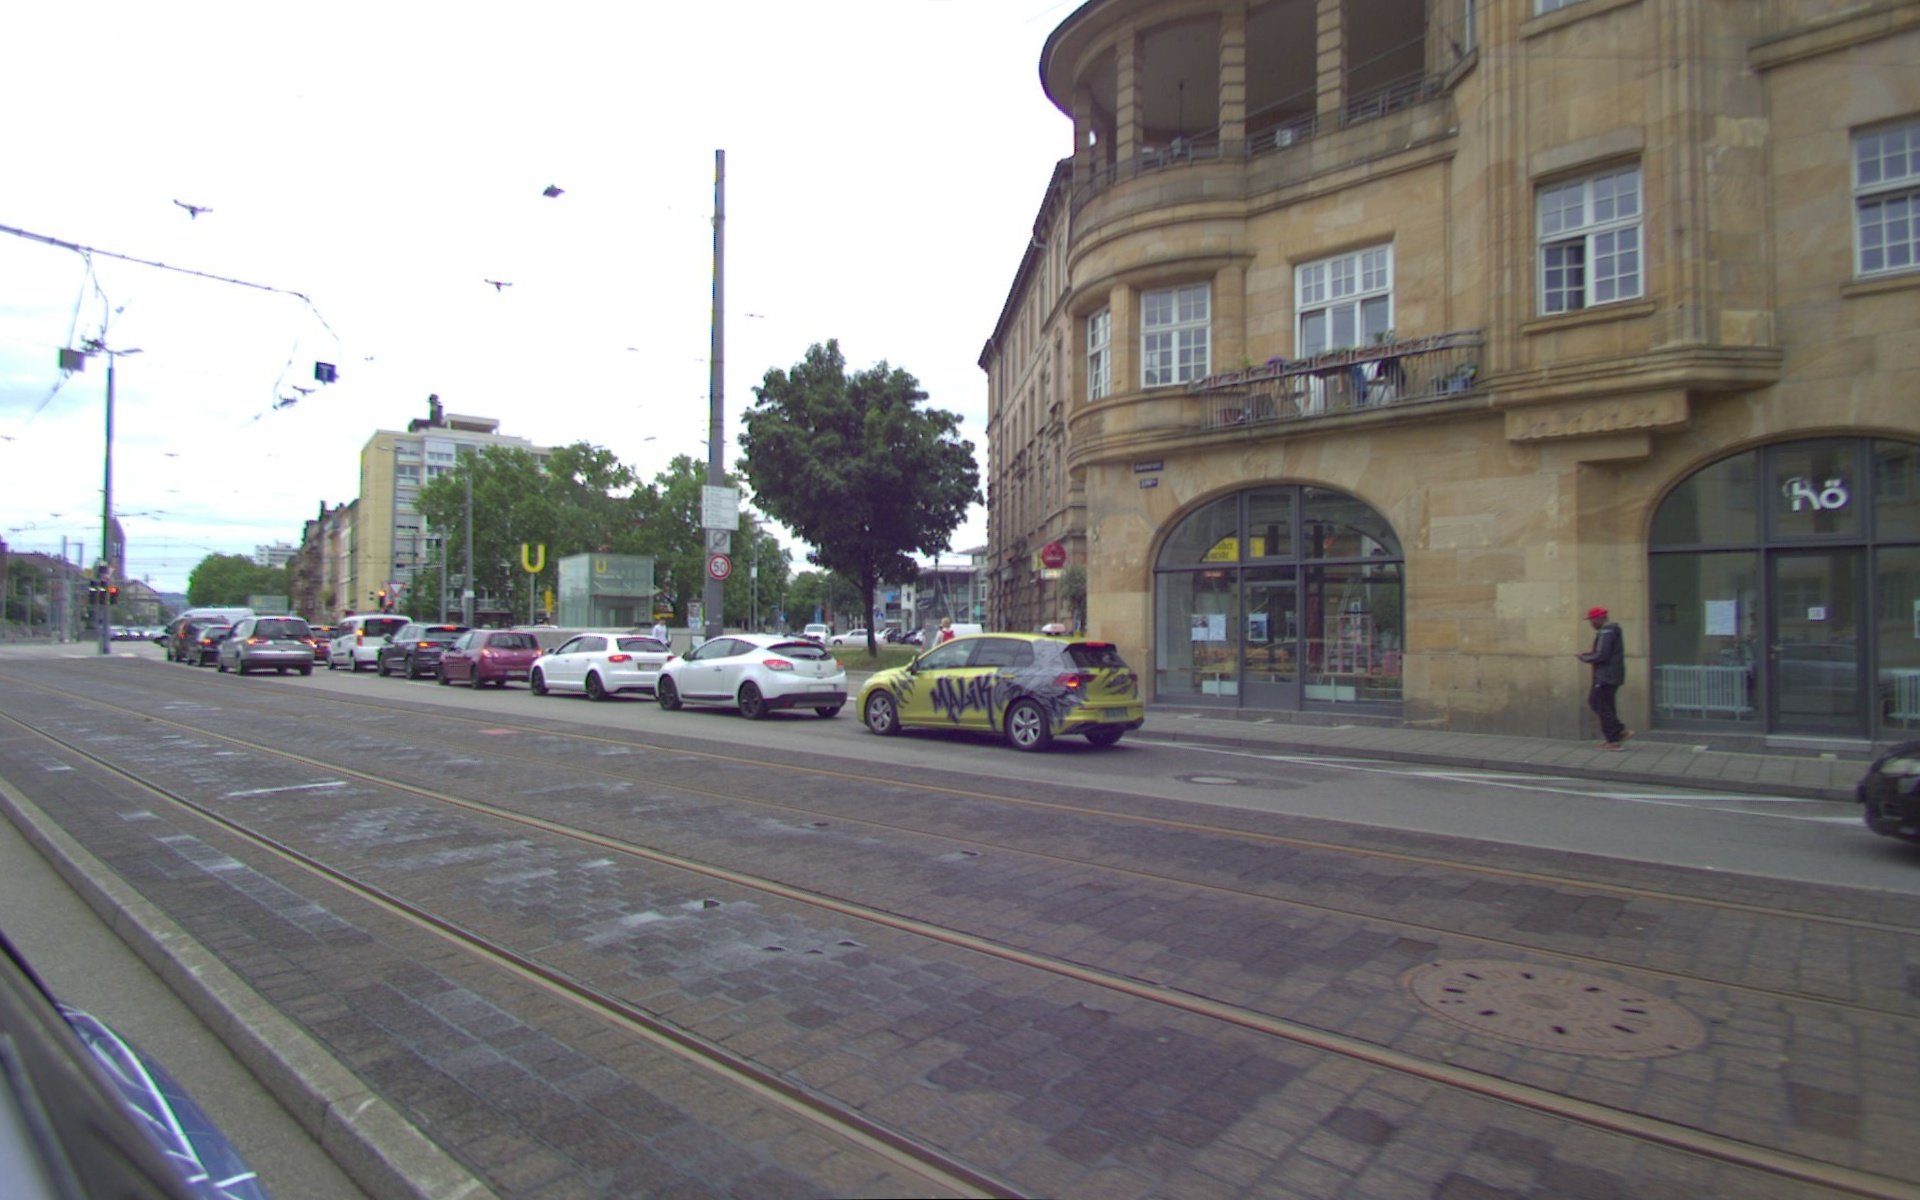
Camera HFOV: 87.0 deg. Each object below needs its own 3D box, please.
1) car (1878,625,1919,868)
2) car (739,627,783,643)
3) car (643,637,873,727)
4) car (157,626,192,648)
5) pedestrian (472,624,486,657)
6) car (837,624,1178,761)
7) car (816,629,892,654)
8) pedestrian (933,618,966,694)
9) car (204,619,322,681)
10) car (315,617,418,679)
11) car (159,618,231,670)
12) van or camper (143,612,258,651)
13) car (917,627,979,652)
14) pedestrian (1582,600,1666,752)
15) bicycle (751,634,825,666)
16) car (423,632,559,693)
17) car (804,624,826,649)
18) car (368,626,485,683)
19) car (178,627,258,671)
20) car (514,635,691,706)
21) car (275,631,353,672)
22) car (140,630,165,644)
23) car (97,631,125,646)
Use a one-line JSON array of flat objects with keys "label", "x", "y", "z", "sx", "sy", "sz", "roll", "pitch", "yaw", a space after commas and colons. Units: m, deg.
[{"label": "car", "x": 7.886, "y": 0.865, "z": 5.125, "sx": 1.806, "sy": 1.444, "sz": 4.670, "roll": 5, "pitch": -5, "yaw": -44}, {"label": "car", "x": -17.921, "y": 3.181, "z": 91.093, "sx": 3.684, "sy": 1.431, "sz": 1.641, "roll": 0, "pitch": -2, "yaw": -1}, {"label": "car", "x": -3.636, "y": 1.343, "z": 17.776, "sx": 4.259, "sy": 1.390, "sz": 1.905, "roll": -2, "pitch": -3, "yaw": 44}, {"label": "car", "x": -70.502, "y": 3.295, "z": 90.823, "sx": 1.895, "sy": 1.896, "sz": 5.092, "roll": 2, "pitch": -1, "yaw": -44}, {"label": "pedestrian", "x": -25.783, "y": 2.159, "z": 54.272, "sx": 0.592, "sy": 1.741, "sz": 0.915, "roll": 1, "pitch": -2, "yaw": -23}, {"label": "car", "x": 0.490, "y": 1.134, "z": 13.494, "sx": 4.430, "sy": 1.522, "sz": 1.877, "roll": -2, "pitch": -4, "yaw": 45}, {"label": "car", "x": -8.005, "y": 3.117, "z": 76.740, "sx": 5.379, "sy": 1.870, "sz": 2.160, "roll": 0, "pitch": -2, "yaw": 5}, {"label": "pedestrian", "x": -0.245, "y": 1.306, "z": 23.750, "sx": 0.628, "sy": 1.732, "sz": 0.529, "roll": -1, "pitch": -2, "yaw": 22}, {"label": "car", "x": -21.064, "y": 1.483, "z": 30.512, "sx": 4.908, "sy": 1.719, "sz": 1.843, "roll": -2, "pitch": -4, "yaw": 43}, {"label": "car", "x": -20.207, "y": 1.599, "z": 34.343, "sx": 1.841, "sy": 1.931, "sz": 5.104, "roll": 2, "pitch": -3, "yaw": -44}, {"label": "car", "x": -30.197, "y": 1.704, "z": 39.892, "sx": 1.669, "sy": 1.915, "sz": 4.389, "roll": 2, "pitch": -3, "yaw": -45}, {"label": "van or camper", "x": -52.968, "y": 2.168, "z": 70.681, "sx": 5.953, "sy": 2.631, "sz": 2.428, "roll": 1, "pitch": -1, "yaw": -10}, {"label": "car", "x": -0.897, "y": 2.948, "z": 76.026, "sx": 4.469, "sy": 1.853, "sz": 1.995, "roll": 0, "pitch": -2, "yaw": 8}, {"label": "pedestrian", "x": 7.912, "y": 0.885, "z": 12.065, "sx": 0.764, "sy": 1.741, "sz": 0.490, "roll": -2, "pitch": -3, "yaw": 38}, {"label": "bicycle", "x": -7.658, "y": 2.231, "z": 45.069, "sx": 3.085, "sy": 1.364, "sz": 0.958, "roll": 0, "pitch": -1, "yaw": 9}, {"label": "car", "x": -11.945, "y": 1.565, "z": 25.677, "sx": 3.897, "sy": 1.410, "sz": 1.842, "roll": -2, "pitch": -5, "yaw": 45}, {"label": "car", "x": -12.228, "y": 3.105, "z": 85.625, "sx": 1.744, "sy": 2.029, "sz": 4.006, "roll": 1, "pitch": -1, "yaw": -7}, {"label": "car", "x": -15.655, "y": 1.590, "z": 29.589, "sx": 1.841, "sy": 1.546, "sz": 4.305, "roll": 4, "pitch": -5, "yaw": -44}, {"label": "car", "x": -26.234, "y": 1.704, "z": 35.733, "sx": 1.669, "sy": 1.453, "sz": 4.002, "roll": 2, "pitch": -3, "yaw": -45}, {"label": "car", "x": -7.824, "y": 1.499, "z": 21.952, "sx": 4.361, "sy": 1.390, "sz": 1.728, "roll": -2, "pitch": -5, "yaw": 42}, {"label": "car", "x": -24.531, "y": 1.908, "z": 38.382, "sx": 1.669, "sy": 1.453, "sz": 4.002, "roll": 2, "pitch": -3, "yaw": -45}, {"label": "car", "x": -81.397, "y": 3.723, "z": 102.006, "sx": 1.968, "sy": 1.453, "sz": 4.007, "roll": 2, "pitch": -3, "yaw": -39}, {"label": "car", "x": -83.904, "y": 3.813, "z": 100.059, "sx": 1.968, "sy": 1.453, "sz": 4.007, "roll": 2, "pitch": -3, "yaw": -39}]
